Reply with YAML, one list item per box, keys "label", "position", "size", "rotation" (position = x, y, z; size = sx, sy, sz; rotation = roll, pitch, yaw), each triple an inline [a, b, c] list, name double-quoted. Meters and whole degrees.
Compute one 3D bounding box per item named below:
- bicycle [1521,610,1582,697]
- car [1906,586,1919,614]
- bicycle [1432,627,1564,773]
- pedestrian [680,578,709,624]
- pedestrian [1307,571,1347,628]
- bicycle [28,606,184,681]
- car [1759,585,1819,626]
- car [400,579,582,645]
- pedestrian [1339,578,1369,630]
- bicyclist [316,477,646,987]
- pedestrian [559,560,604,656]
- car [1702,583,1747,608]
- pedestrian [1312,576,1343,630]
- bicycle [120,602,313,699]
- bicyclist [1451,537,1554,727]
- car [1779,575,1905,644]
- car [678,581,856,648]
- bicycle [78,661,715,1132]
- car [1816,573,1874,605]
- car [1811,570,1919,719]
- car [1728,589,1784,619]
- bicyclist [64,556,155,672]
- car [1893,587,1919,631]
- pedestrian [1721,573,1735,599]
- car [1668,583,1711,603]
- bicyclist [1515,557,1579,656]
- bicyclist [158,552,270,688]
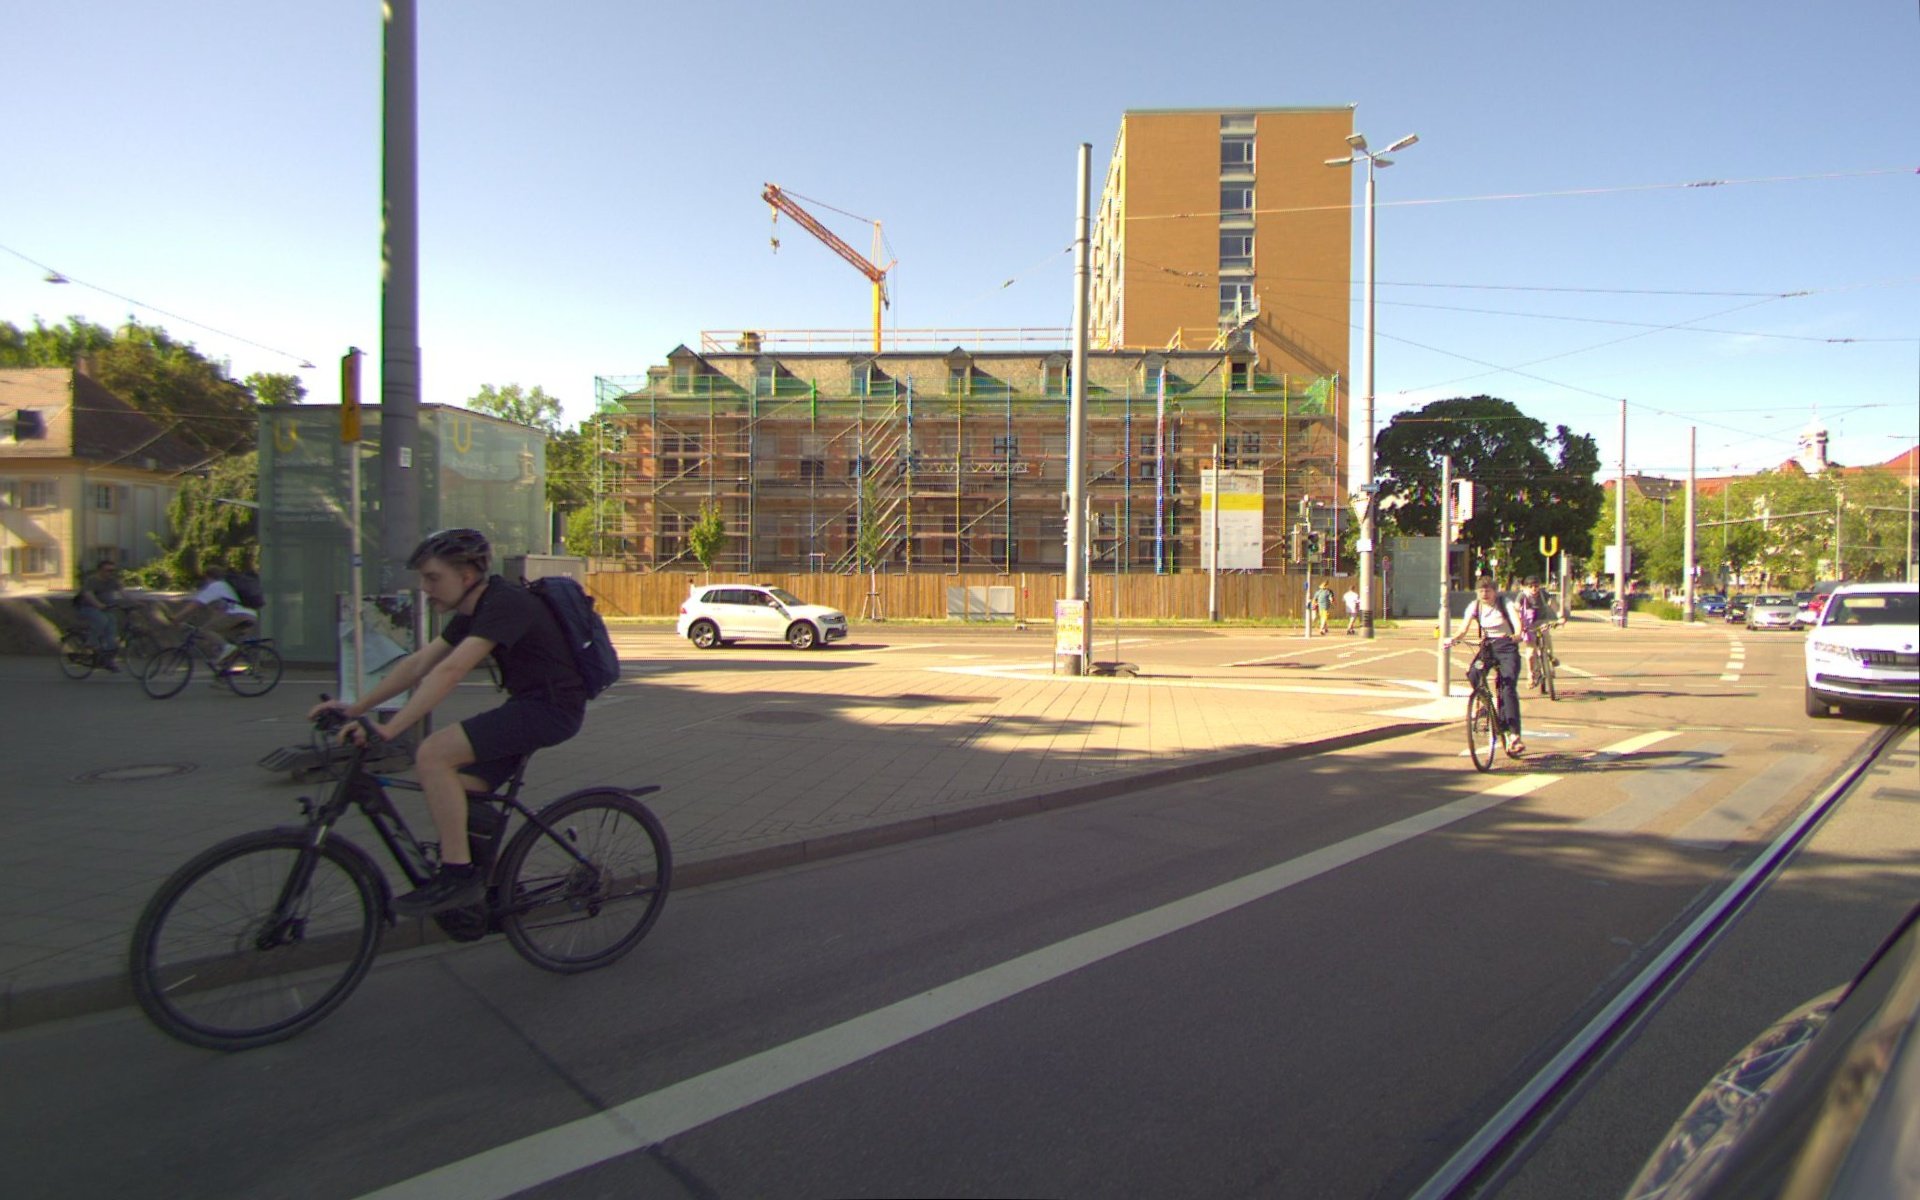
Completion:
- label: "bicycle"
  position: [8.900, 0.769, 15.268]
  size: [0.527, 1.173, 1.852]
  rotation: [-1, 1, 22]
- label: "car"
  position: [55.211, -0.024, 57.362]
  size: [1.675, 1.551, 3.867]
  rotation: [-1, 0, 34]
- label: "bicycle"
  position: [4.866, 0.839, 9.098]
  size: [0.531, 1.132, 1.903]
  rotation: [-1, -1, 44]
- label: "pedestrian"
  position: [-12.185, 0.038, 46.441]
  size: [1.067, 2.039, 0.865]
  rotation: [-1, 0, 0]
- label: "pedestrian"
  position: [12.865, -0.014, 35.466]
  size: [0.930, 1.954, 1.032]
  rotation: [-2, 0, 44]
- label: "bicycle"
  position: [-12.711, 0.632, 15.066]
  size: [2.159, 1.071, 0.487]
  rotation: [0, 0, 9]
- label: "car"
  position: [35.488, 0.206, 43.350]
  size: [1.878, 1.650, 3.955]
  rotation: [-1, 0, 40]
- label: "car"
  position: [-12.813, 0.310, 27.764]
  size: [4.182, 1.707, 1.914]
  rotation: [0, 2, 10]
- label: "pedestrian"
  position: [13.197, 0.126, 33.891]
  size: [0.659, 1.698, 0.811]
  rotation: [-2, -1, 44]
- label: "bicyclist"
  position: [-1.787, 0.417, 3.807]
  size: [0.964, 1.634, 0.624]
  rotation: [-1, 0, -43]
- label: "pedestrian"
  position: [-7.566, 0.158, 20.257]
  size: [0.638, 1.872, 0.546]
  rotation: [-1, 0, 6]
- label: "car"
  position: [51.180, -0.345, 67.779]
  size: [1.871, 1.586, 3.970]
  rotation: [-1, 0, 30]
- label: "pedestrian"
  position: [12.284, 0.095, 33.853]
  size: [0.659, 1.779, 0.811]
  rotation: [-2, -1, 44]
- label: "bicycle"
  position: [-9.195, 0.604, 12.563]
  size: [1.894, 1.131, 0.534]
  rotation: [-1, 0, -8]
- label: "bicyclist"
  position: [4.949, 0.270, 9.218]
  size: [0.550, 1.634, 0.938]
  rotation: [-2, 0, 44]
- label: "car"
  position: [22.826, 0.204, 26.353]
  size: [1.873, 1.650, 3.966]
  rotation: [-1, 0, 33]
- label: "car"
  position: [-4.996, 0.345, 26.495]
  size: [4.182, 1.641, 1.914]
  rotation: [0, 2, 10]
- label: "bicycle"
  position: [-1.866, 0.864, 3.602]
  size: [1.901, 1.131, 0.532]
  rotation: [-2, 2, -42]
- label: "car"
  position: [77.309, -0.965, 88.494]
  size: [2.219, 2.715, 5.264]
  rotation: [-1, 0, 23]
- label: "car"
  position: [12.184, 0.498, 12.952]
  size: [1.862, 1.666, 4.330]
  rotation: [0, 0, 42]
- label: "car"
  position: [44.447, 0.221, 56.588]
  size: [1.871, 1.586, 3.970]
  rotation: [-1, 0, 30]
- label: "bicyclist"
  position: [-12.635, 0.205, 15.049]
  size: [1.029, 1.681, 0.454]
  rotation: [-1, 0, 8]
- label: "car"
  position: [33.812, 0.282, 34.625]
  size: [1.905, 1.477, 3.826]
  rotation: [-1, 0, 29]
- label: "pedestrian"
  position: [75.062, -1.351, 98.874]
  size: [0.867, 2.466, 0.881]
  rotation: [-1, 0, 27]
- label: "car"
  position: [57.630, -0.577, 80.064]
  size: [1.902, 1.477, 4.628]
  rotation: [-1, 0, 25]
- label: "bicyclist"
  position: [8.825, 0.093, 15.242]
  size: [0.668, 1.439, 1.028]
  rotation: [-1, 0, 23]
- label: "bicyclist"
  position: [-9.301, 0.246, 12.644]
  size: [0.934, 1.634, 0.600]
  rotation: [-1, 0, -1]
